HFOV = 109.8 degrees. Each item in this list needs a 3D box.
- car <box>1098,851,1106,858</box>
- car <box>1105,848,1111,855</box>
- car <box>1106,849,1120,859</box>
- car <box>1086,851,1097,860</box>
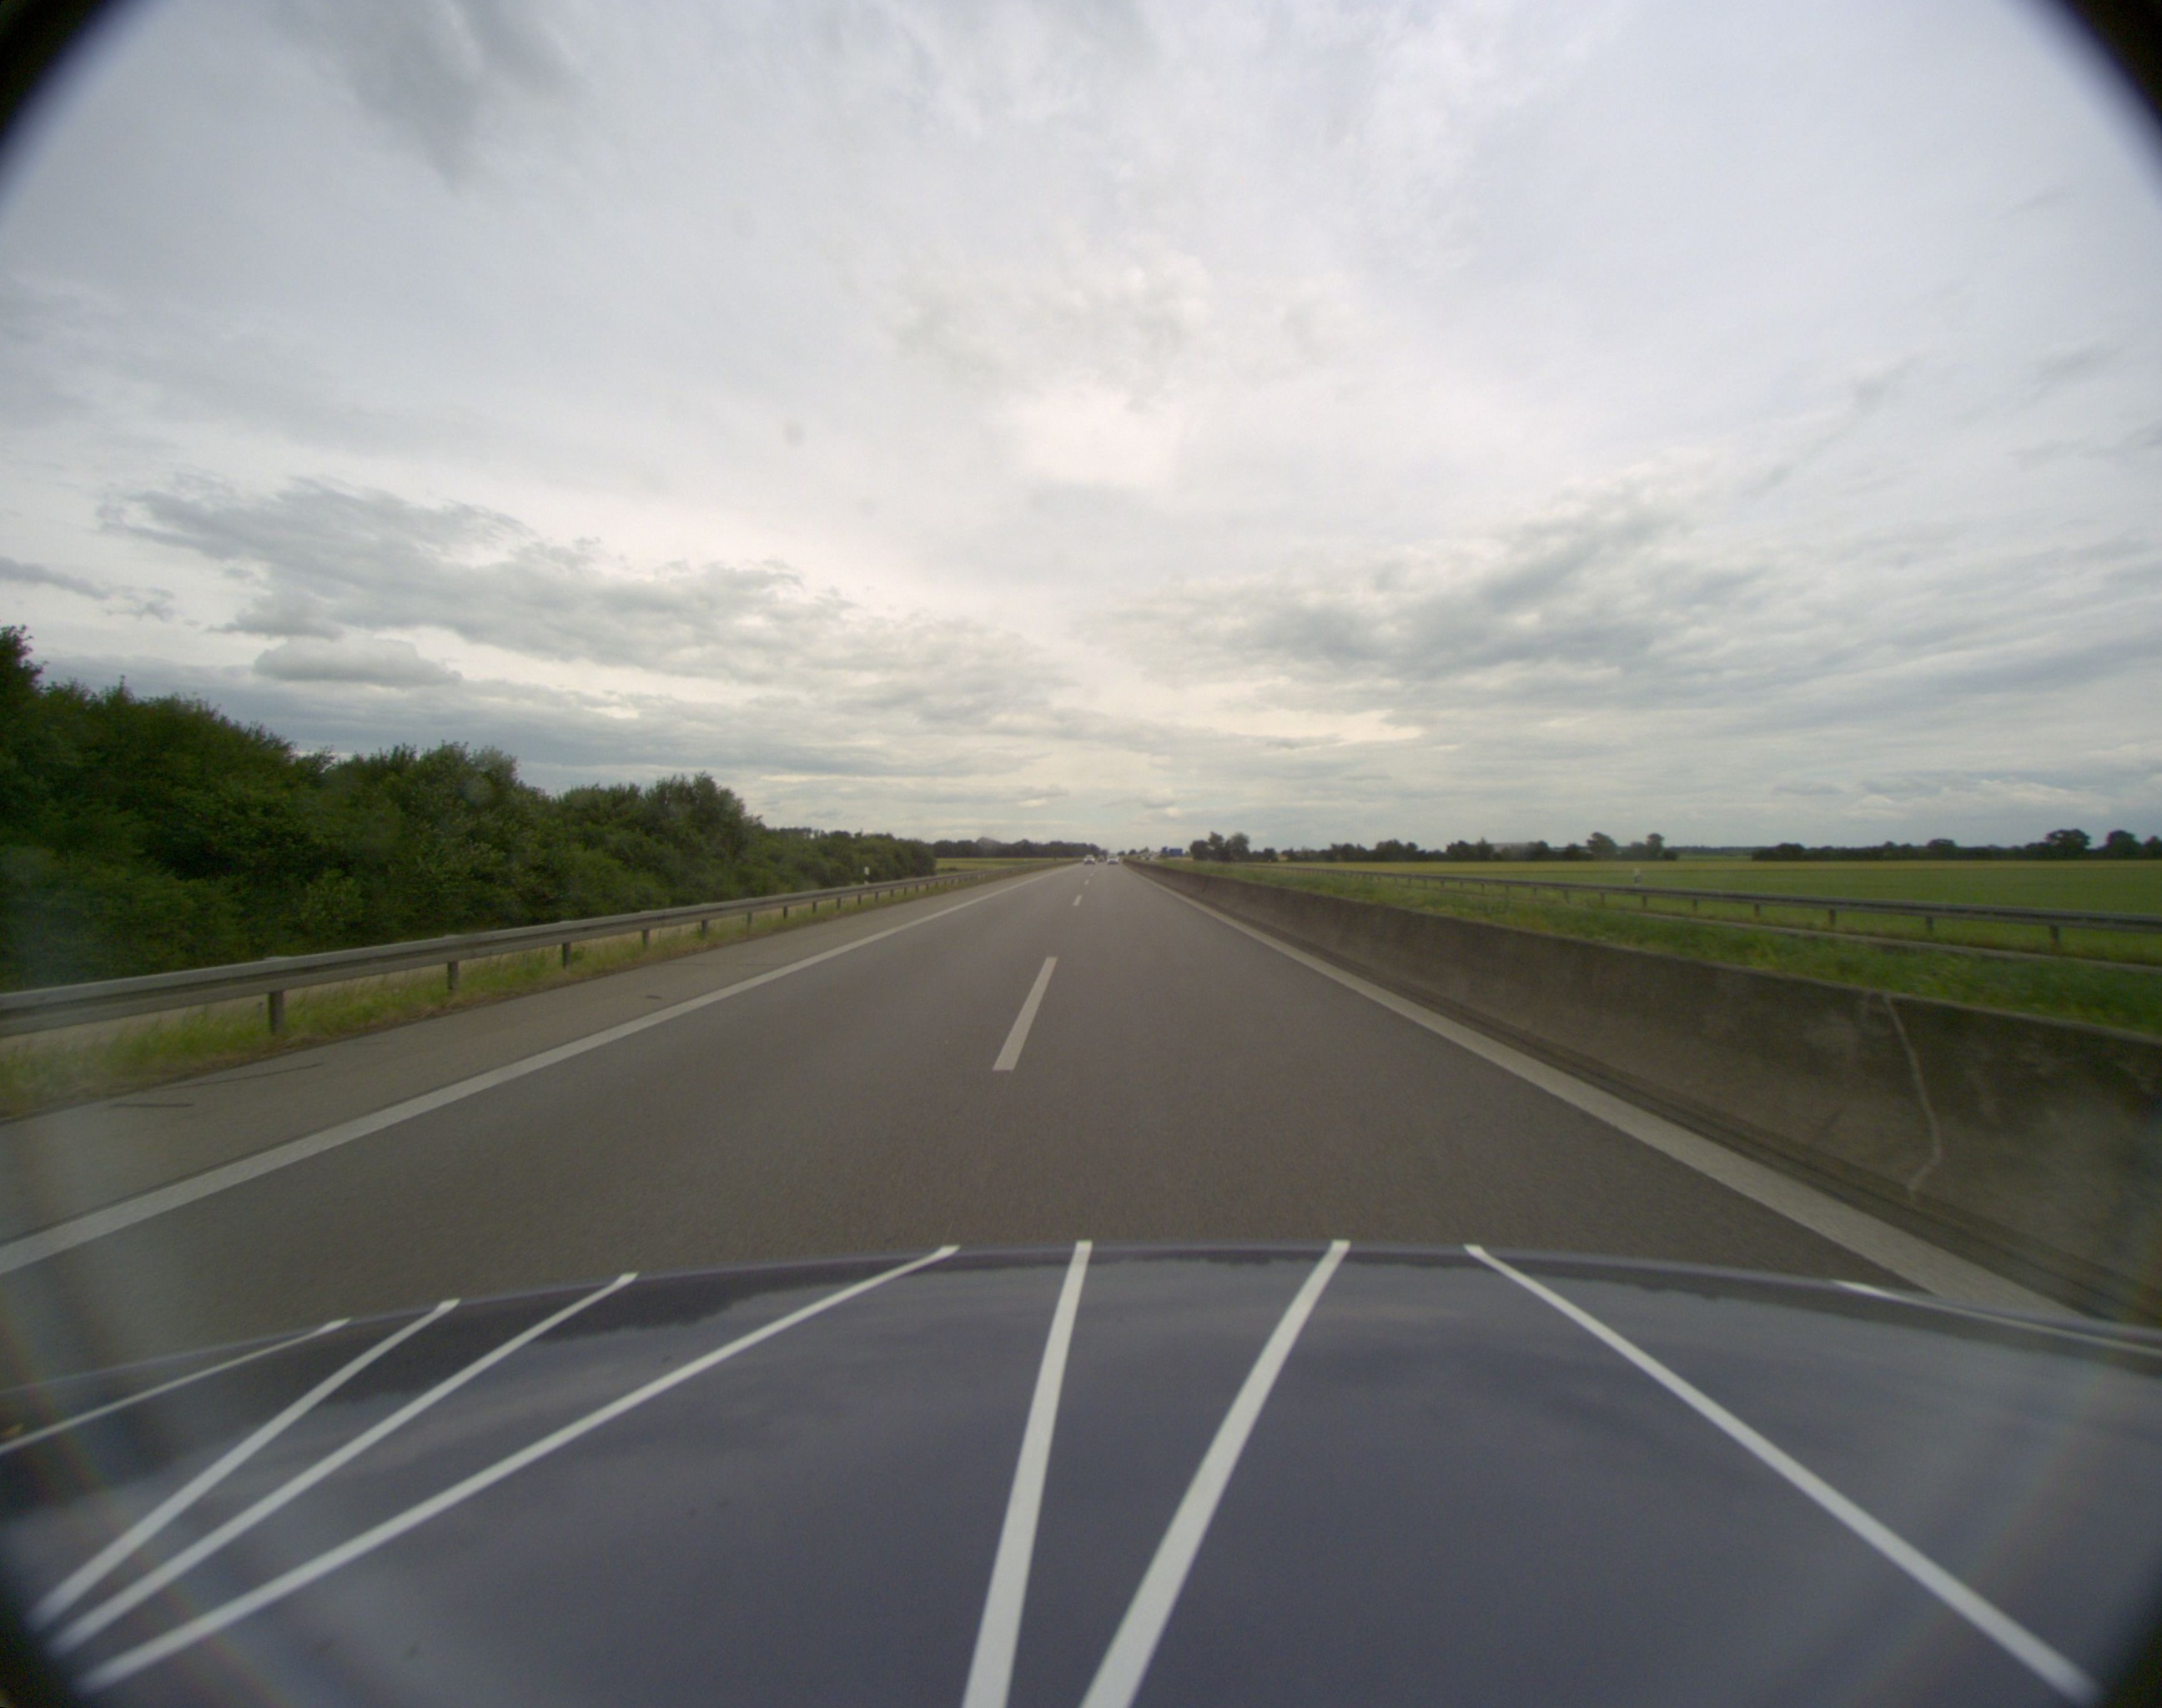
[{"bbox_3d":[5.011,0.133,181.992,1.916,1.553,4.288,-1,1,1],"label":"car"},{"bbox_3d":[8.648,-0.830,243.699,1.915,2.248,5.314,-1,1,4],"label":"car"},{"bbox_3d":[5.464,0.014,129.698,1.916,1.553,4.286,-1,1,-4],"label":"car"},{"bbox_3d":[1.813,0.245,133.052,1.916,1.553,4.288,-1,1,1],"label":"car"}]
